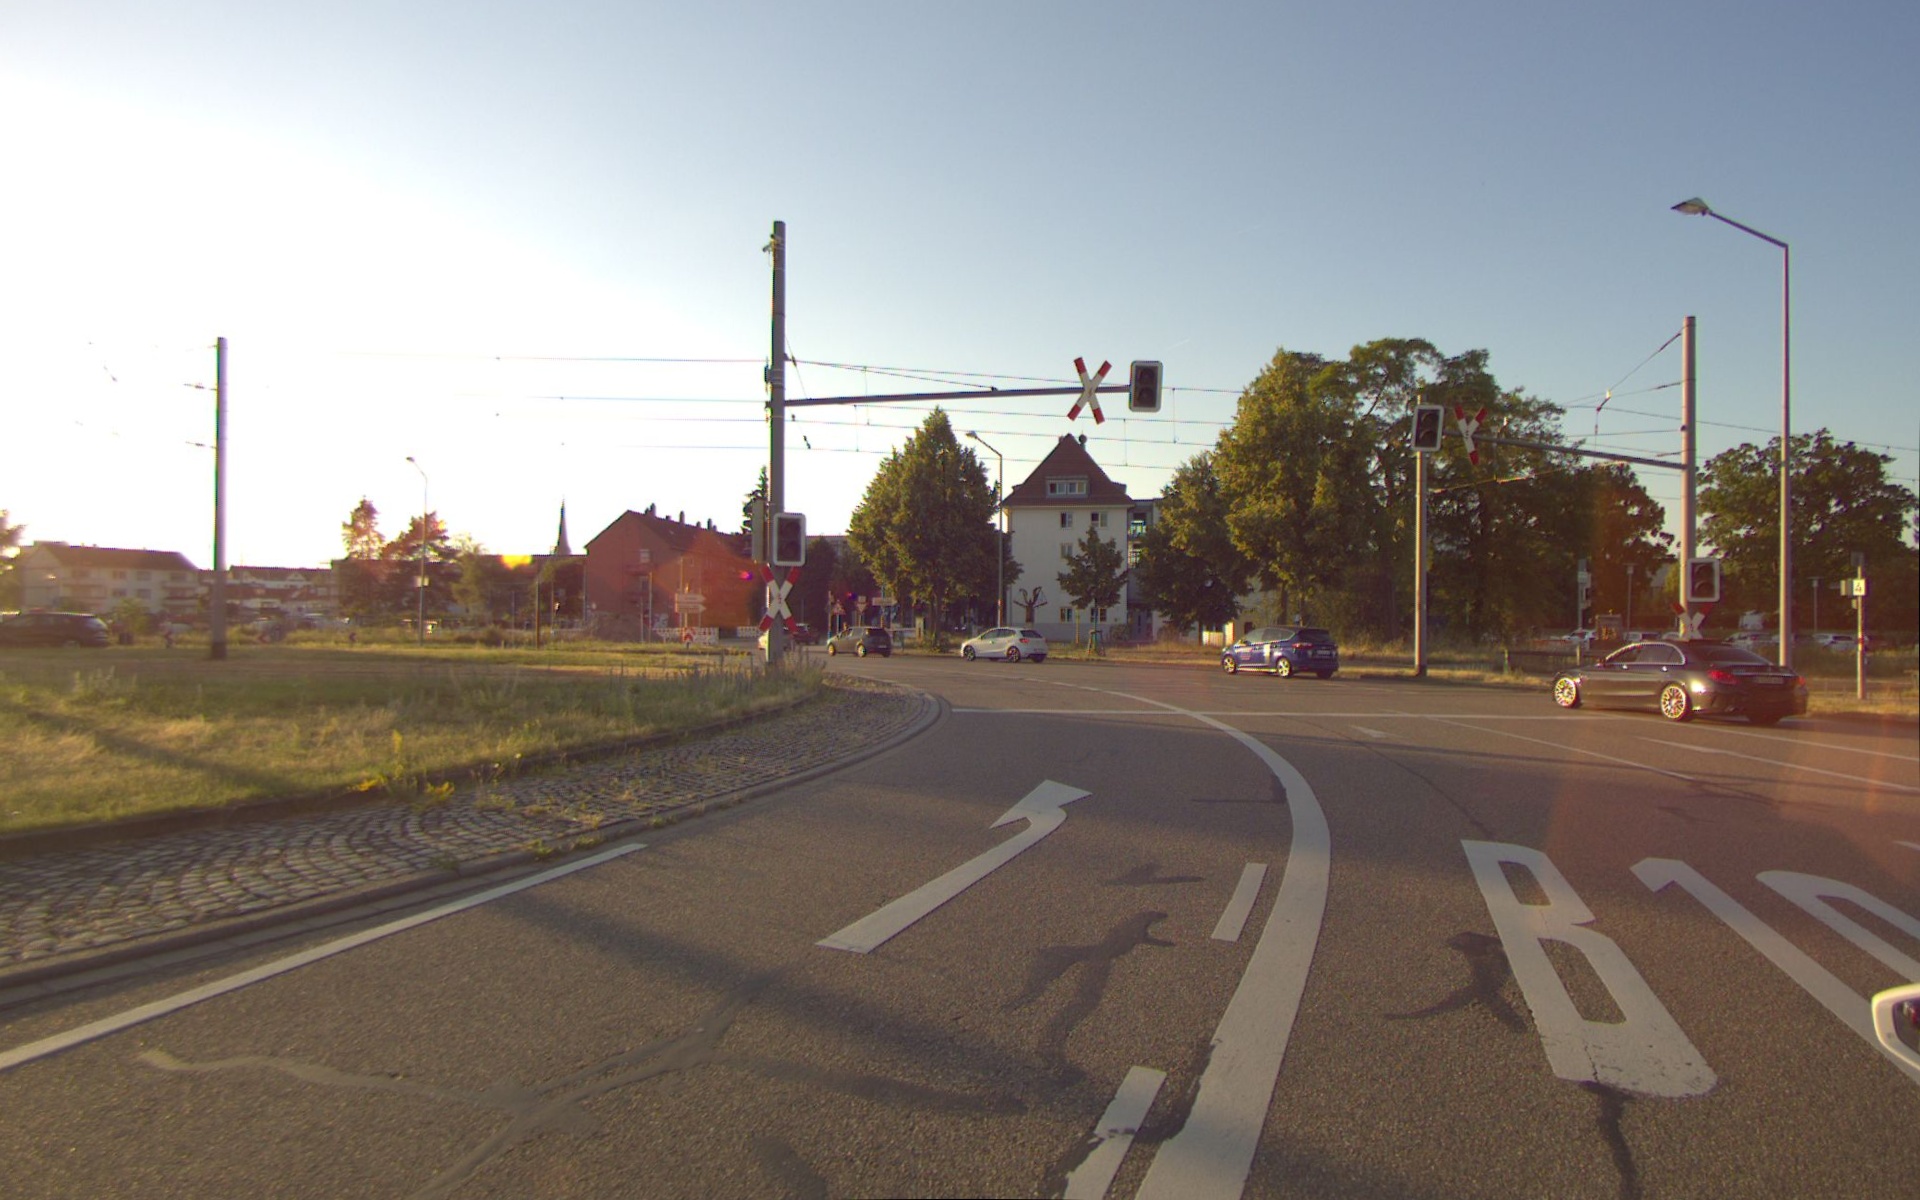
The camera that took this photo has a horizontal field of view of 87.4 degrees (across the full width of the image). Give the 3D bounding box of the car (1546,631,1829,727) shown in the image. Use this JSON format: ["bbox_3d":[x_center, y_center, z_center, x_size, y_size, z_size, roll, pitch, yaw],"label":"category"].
[{"bbox_3d":[13.169,1.361,18.613,1.919,1.446,4.428,1,-1,-2],"label":"car"}]

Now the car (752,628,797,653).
[{"bbox_3d":[-11.311,2.425,61.082,1.855,1.420,3.895,1,-1,-23],"label":"car"}]

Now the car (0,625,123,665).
[{"bbox_3d":[-34.291,1.655,37.472,4.256,1.451,1.935,1,-1,-21],"label":"car"}]

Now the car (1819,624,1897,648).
[{"bbox_3d":[61.155,2.426,68.503,1.865,1.574,4.002,0,-2,4],"label":"car"}]

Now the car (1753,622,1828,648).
[{"bbox_3d":[56.592,2.356,68.539,1.914,1.684,4.002,0,-2,4],"label":"car"}]

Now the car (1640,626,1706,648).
[{"bbox_3d":[49.008,2.507,69.155,1.914,1.464,4.002,0,-2,4],"label":"car"}]

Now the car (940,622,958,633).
[{"bbox_3d":[-1.477,3.701,135.752,1.844,1.420,3.919,0,-1,7],"label":"car"}]

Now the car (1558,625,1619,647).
[{"bbox_3d":[43.906,2.483,70.234,1.914,1.464,4.002,0,-2,4],"label":"car"}]

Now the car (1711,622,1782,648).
[{"bbox_3d":[54.178,2.399,69.294,1.914,1.684,4.002,0,-2,4],"label":"car"}]

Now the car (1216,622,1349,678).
[{"bbox_3d":[10.134,1.536,31.883,1.928,1.623,4.059,2,-1,-20],"label":"car"}]

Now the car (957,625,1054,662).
[{"bbox_3d":[1.898,1.810,42.426,3.863,1.420,1.870,0,-1,44],"label":"car"}]

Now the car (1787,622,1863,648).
[{"bbox_3d":[58.764,2.356,68.317,1.914,1.684,4.002,0,-2,4],"label":"car"}]

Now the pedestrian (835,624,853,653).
[{"bbox_3d":[-6.755,2.243,58.468,0.869,1.708,0.847,0,-1,5],"label":"pedestrian"}]

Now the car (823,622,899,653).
[{"bbox_3d":[-4.914,1.828,49.446,1.867,1.420,3.869,1,-1,-41],"label":"car"}]

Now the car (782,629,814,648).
[{"bbox_3d":[-12.878,3.051,80.062,1.845,1.420,3.917,0,-1,0],"label":"car"}]

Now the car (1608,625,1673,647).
[{"bbox_3d":[47.028,2.484,69.524,1.914,1.464,4.002,0,-2,4],"label":"car"}]
